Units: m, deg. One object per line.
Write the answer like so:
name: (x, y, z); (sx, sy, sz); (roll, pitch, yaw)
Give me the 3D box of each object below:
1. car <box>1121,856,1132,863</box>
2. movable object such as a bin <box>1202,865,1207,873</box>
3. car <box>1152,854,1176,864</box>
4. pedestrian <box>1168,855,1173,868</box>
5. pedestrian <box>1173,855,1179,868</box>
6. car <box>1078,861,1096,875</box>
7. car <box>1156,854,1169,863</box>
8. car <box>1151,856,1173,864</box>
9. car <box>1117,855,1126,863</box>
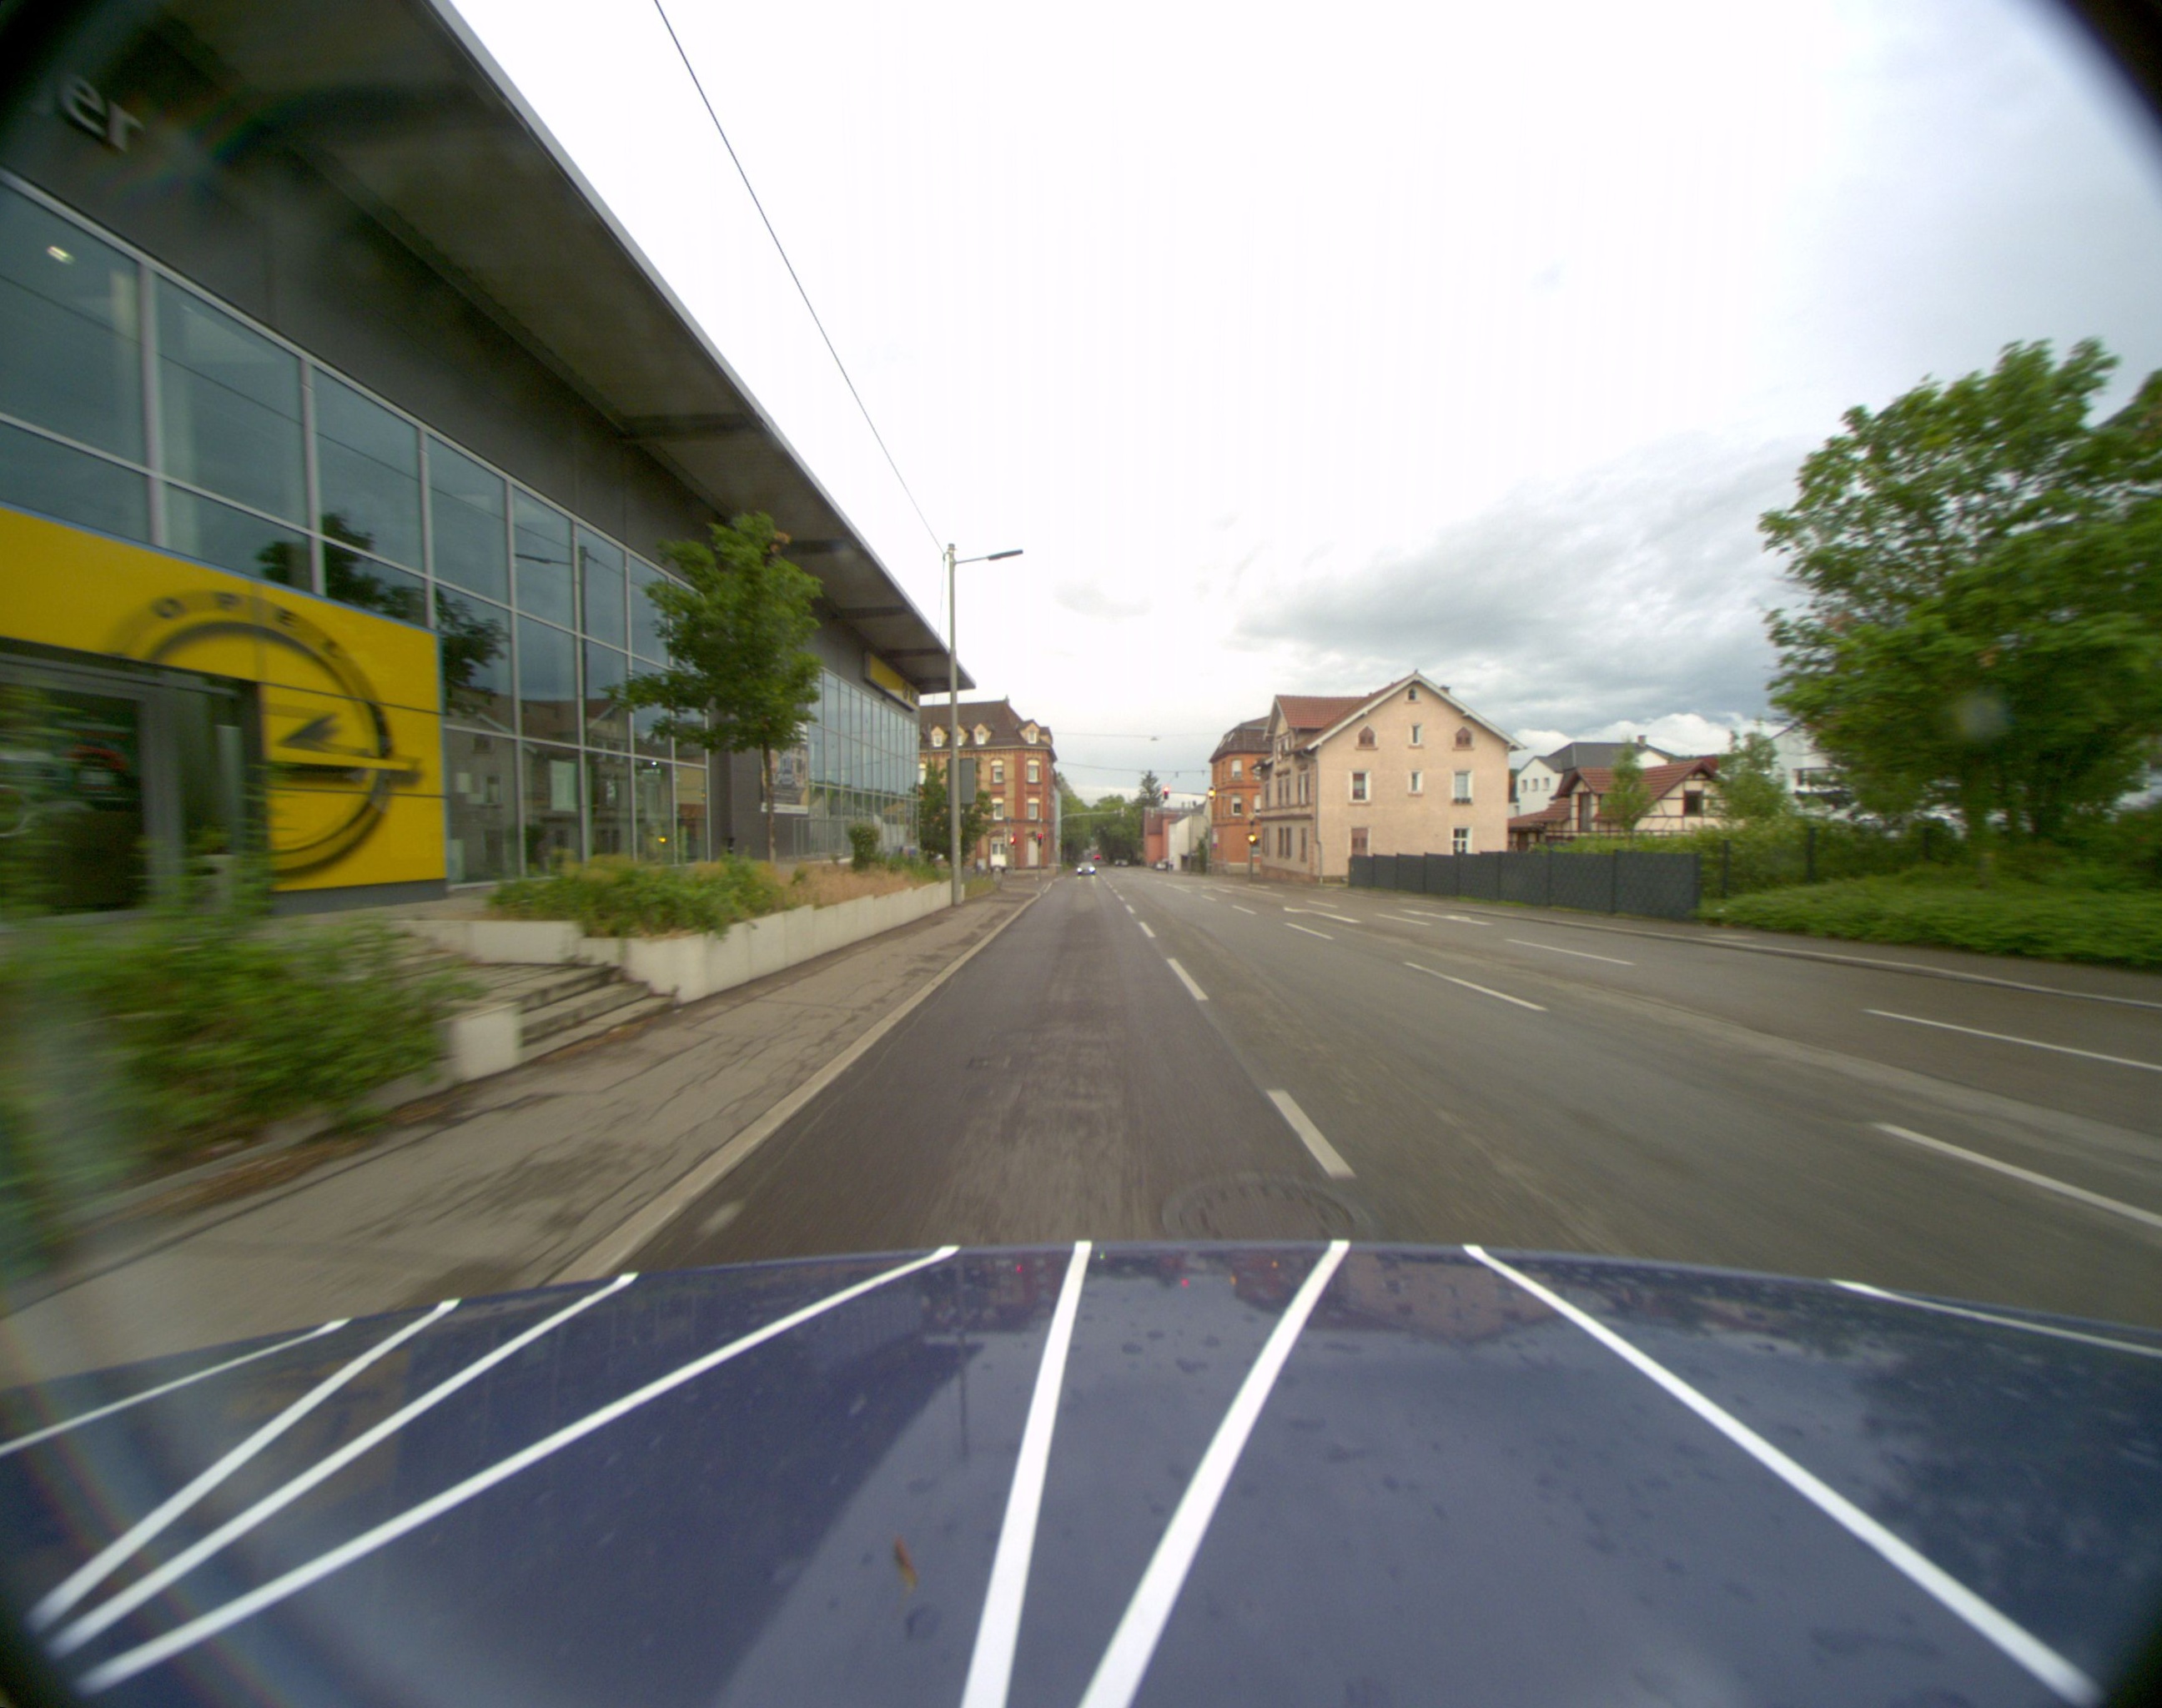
car: (9.441, 1.202, 157.769); (1.789, 1.402, 4.197); (1, 0, -2)
movable object such as a bin: (13.654, 1.647, 84.311); (0.410, 0.919, 0.525); (-2, 1, -6)
car: (15.923, 0.964, 145.753); (4.542, 1.599, 2.153); (-3, 0, 3)
pedestrian: (12.391, 1.042, 104.969); (0.642, 1.696, 0.911); (-1, 0, 2)
pedestrian: (13.117, 1.042, 105.012); (0.642, 1.696, 0.911); (-1, 0, 2)
car: (0.629, 1.447, 79.357); (1.842, 1.403, 4.000); (0, 0, 1)
car: (13.535, 0.779, 125.851); (1.749, 1.499, 4.177); (0, 0, 1)
car: (15.747, 1.148, 148.255); (4.171, 1.425, 2.000); (-3, 0, 3)
car: (9.054, 1.084, 169.083); (1.816, 1.537, 4.198); (3, 0, 0)
